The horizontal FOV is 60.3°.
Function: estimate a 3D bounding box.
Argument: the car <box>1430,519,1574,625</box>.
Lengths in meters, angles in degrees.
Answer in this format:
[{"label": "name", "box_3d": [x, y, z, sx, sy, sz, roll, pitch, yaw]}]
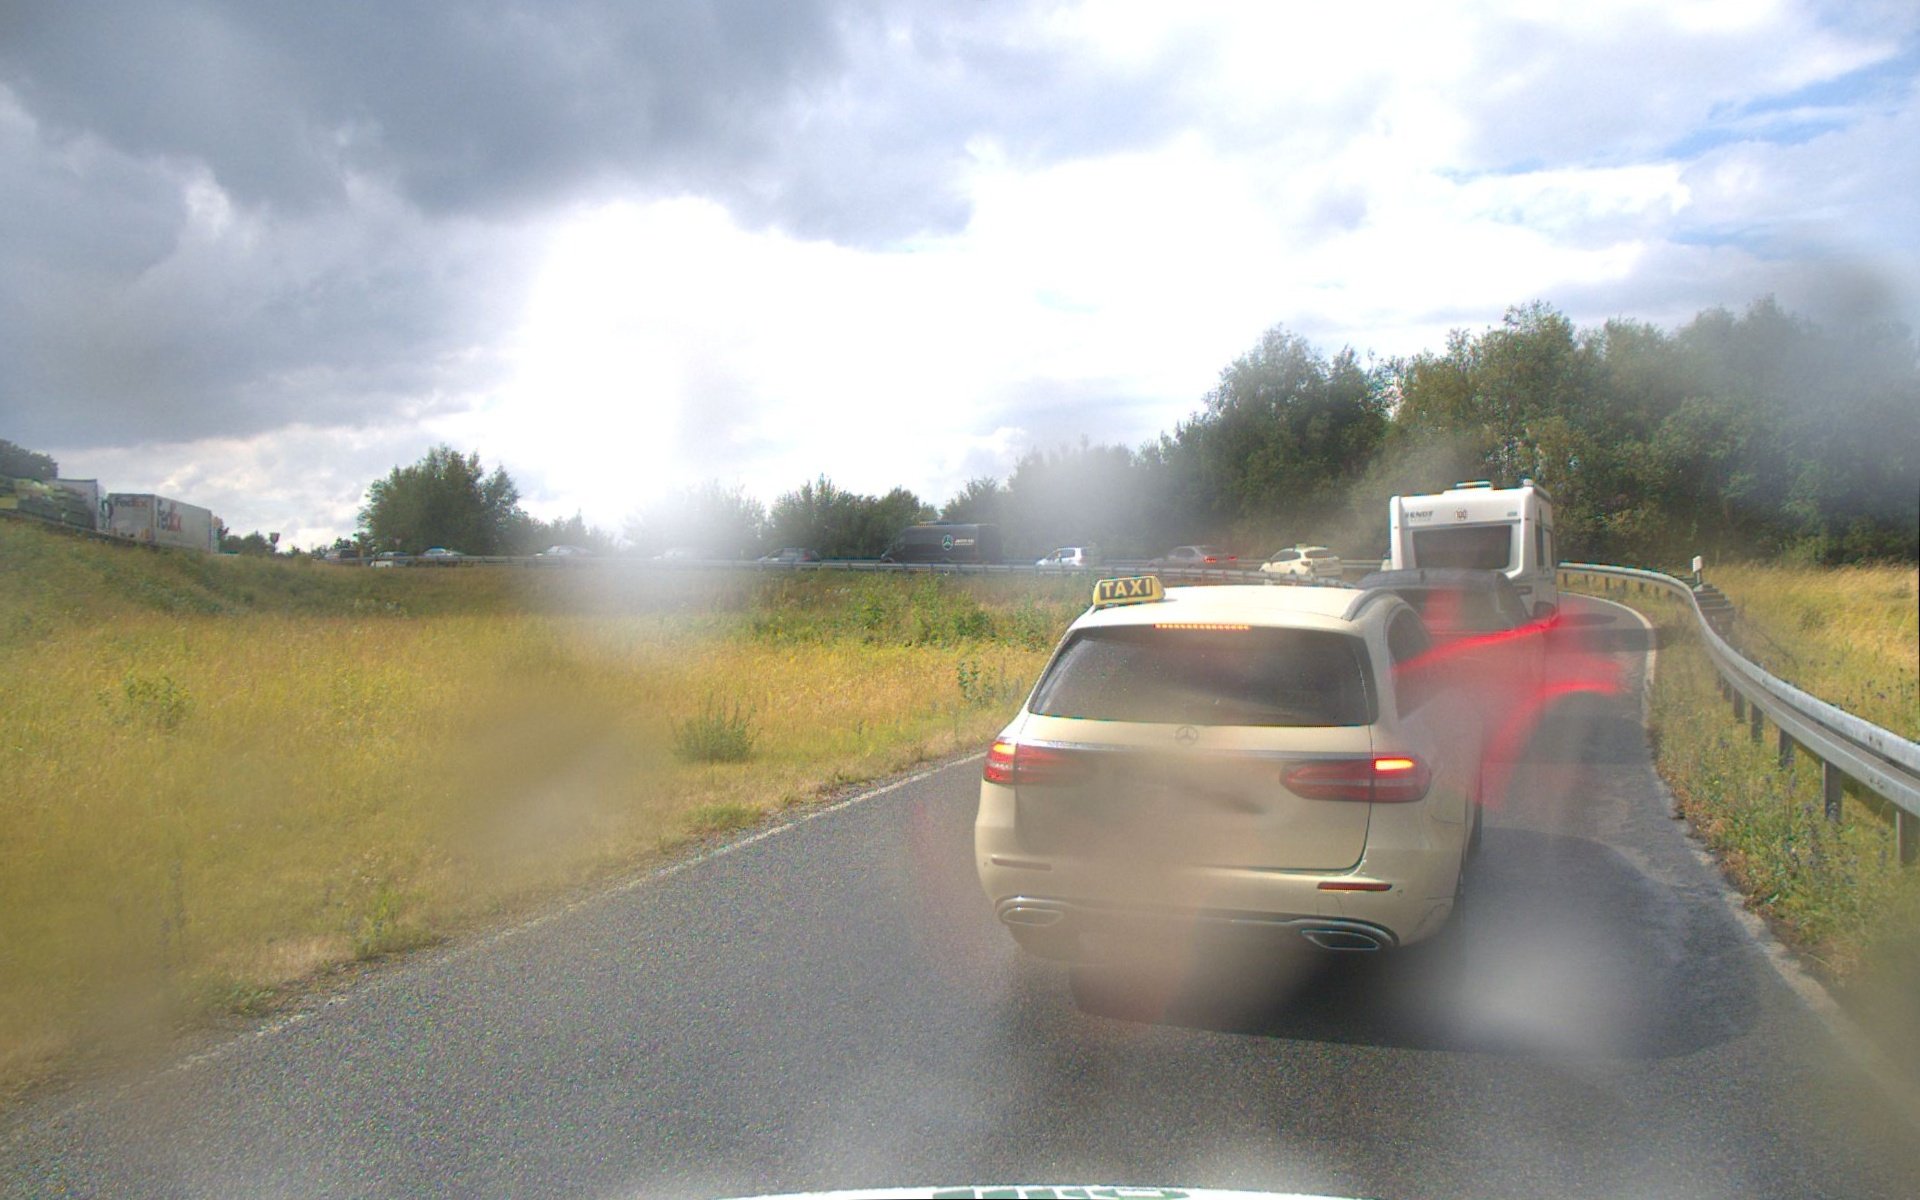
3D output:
[{"label": "car", "box_3d": [11.180, -0.652, 33.847, 2.379, 1.959, 5.761, 0, 3, 22]}]

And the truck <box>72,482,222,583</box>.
[{"label": "truck", "box_3d": [-49.427, -3.831, 101.478, 4.386, 4.582, 19.297, 0, -2, -15]}]

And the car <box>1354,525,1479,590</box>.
[{"label": "car", "box_3d": [14.926, -1.356, 54.402, 1.957, 1.894, 5.045, -2, 0, -10]}]

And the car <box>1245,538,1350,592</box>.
[{"label": "car", "box_3d": [12.806, -1.312, 63.060, 1.959, 1.893, 5.041, -3, 1, -13]}]

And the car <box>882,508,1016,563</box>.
[{"label": "car", "box_3d": [-0.631, -3.363, 87.086, 6.855, 2.640, 2.860, -1, 1, 40]}]

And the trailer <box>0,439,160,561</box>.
[{"label": "trailer", "box_3d": [-44.612, -4.646, 82.697, 4.339, 4.025, 20.136, 0, -2, -14]}]

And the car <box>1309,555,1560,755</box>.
[{"label": "car", "box_3d": [4.413, 0.410, 14.984, 1.683, 1.551, 3.999, -1, 0, 23]}]

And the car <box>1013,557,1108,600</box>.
[{"label": "car", "box_3d": [4.898, -1.037, 81.154, 1.977, 1.894, 4.994, -1, -1, -35]}]

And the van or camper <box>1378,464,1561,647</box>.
[{"label": "van or camper", "box_3d": [8.869, -0.792, 28.376, 2.381, 2.776, 6.001, 0, 2, 23]}]

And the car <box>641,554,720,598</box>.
[{"label": "car", "box_3d": [-16.189, -1.389, 95.870, 3.910, 2.046, 2.000, -6, 4, 27]}]

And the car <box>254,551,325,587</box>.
[{"label": "car", "box_3d": [-40.697, -1.884, 100.511, 3.929, 2.049, 1.815, 0, -3, -21]}]

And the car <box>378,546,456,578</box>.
[{"label": "car", "box_3d": [-35.767, -2.463, 108.933, 4.943, 1.894, 1.998, -2, -1, 27]}]

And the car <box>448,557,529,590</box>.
[{"label": "car", "box_3d": [-29.354, -1.654, 103.044, 4.400, 1.894, 2.002, -2, -1, 11]}]

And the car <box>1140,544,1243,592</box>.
[{"label": "car", "box_3d": [10.147, -1.393, 72.864, 1.970, 1.894, 5.012, -1, -1, -27]}]

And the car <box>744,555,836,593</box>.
[{"label": "car", "box_3d": [-9.526, -1.438, 92.448, 4.949, 1.894, 1.995, -2, -1, 32]}]

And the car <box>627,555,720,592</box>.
[{"label": "car", "box_3d": [-16.642, -1.523, 95.977, 4.935, 1.894, 2.001, -2, -1, 19]}]

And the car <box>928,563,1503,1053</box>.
[{"label": "car", "box_3d": [1.510, 0.615, 7.652, 1.876, 1.533, 4.598, 0, 1, 18]}]
